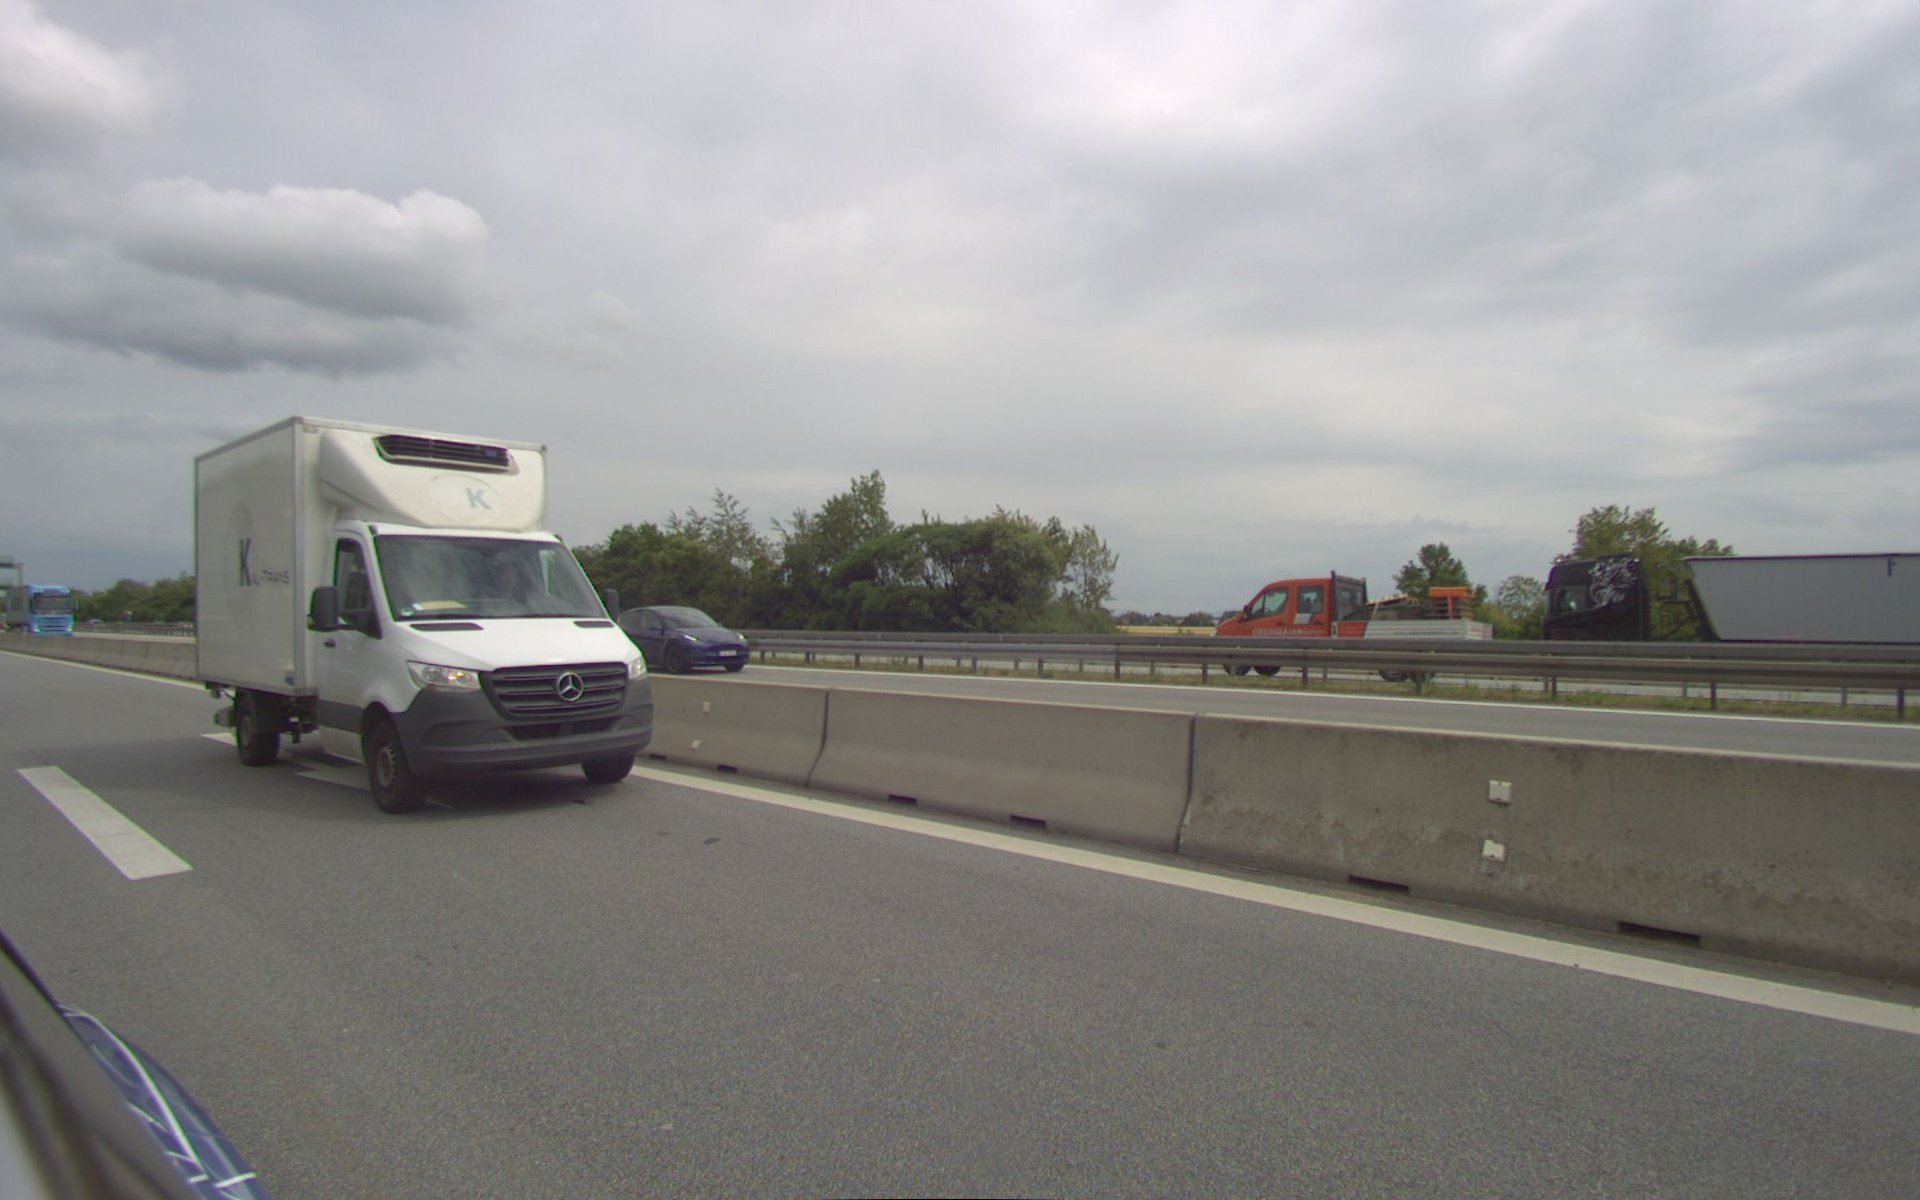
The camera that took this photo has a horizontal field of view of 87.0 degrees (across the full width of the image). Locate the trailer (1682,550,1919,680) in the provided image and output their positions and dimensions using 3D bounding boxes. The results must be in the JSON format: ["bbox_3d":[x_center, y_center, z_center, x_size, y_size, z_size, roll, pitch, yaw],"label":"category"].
[{"bbox_3d":[25.223,0.383,26.712,9.816,3.294,3.165,-1,-1,40],"label":"trailer"}]

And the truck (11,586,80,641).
[{"bbox_3d":[-69.522,1.022,76.897,6.607,3.941,3.212,-1,-1,42],"label":"truck"}]

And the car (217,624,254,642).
[{"bbox_3d":[-61.705,2.780,86.150,4.001,1.480,1.670,-1,-1,40],"label":"car"}]

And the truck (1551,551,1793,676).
[{"bbox_3d":[21.110,0.415,30.132,5.617,3.355,3.118,-1,-1,40],"label":"truck"}]

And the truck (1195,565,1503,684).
[{"bbox_3d":[8.743,0.554,23.233,6.198,2.388,2.252,-1,-1,42],"label":"truck"}]

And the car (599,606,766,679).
[{"bbox_3d":[-7.025,1.005,25.375,4.382,1.674,1.973,-1,-1,41],"label":"car"}]

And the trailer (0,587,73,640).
[{"bbox_3d":[-74.152,1.069,81.018,12.375,3.954,3.202,-1,0,42],"label":"trailer"}]

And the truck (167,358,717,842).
[{"bbox_3d":[-5.190,0.044,9.508,6.366,3.113,2.379,-1,-1,41],"label":"truck"}]
